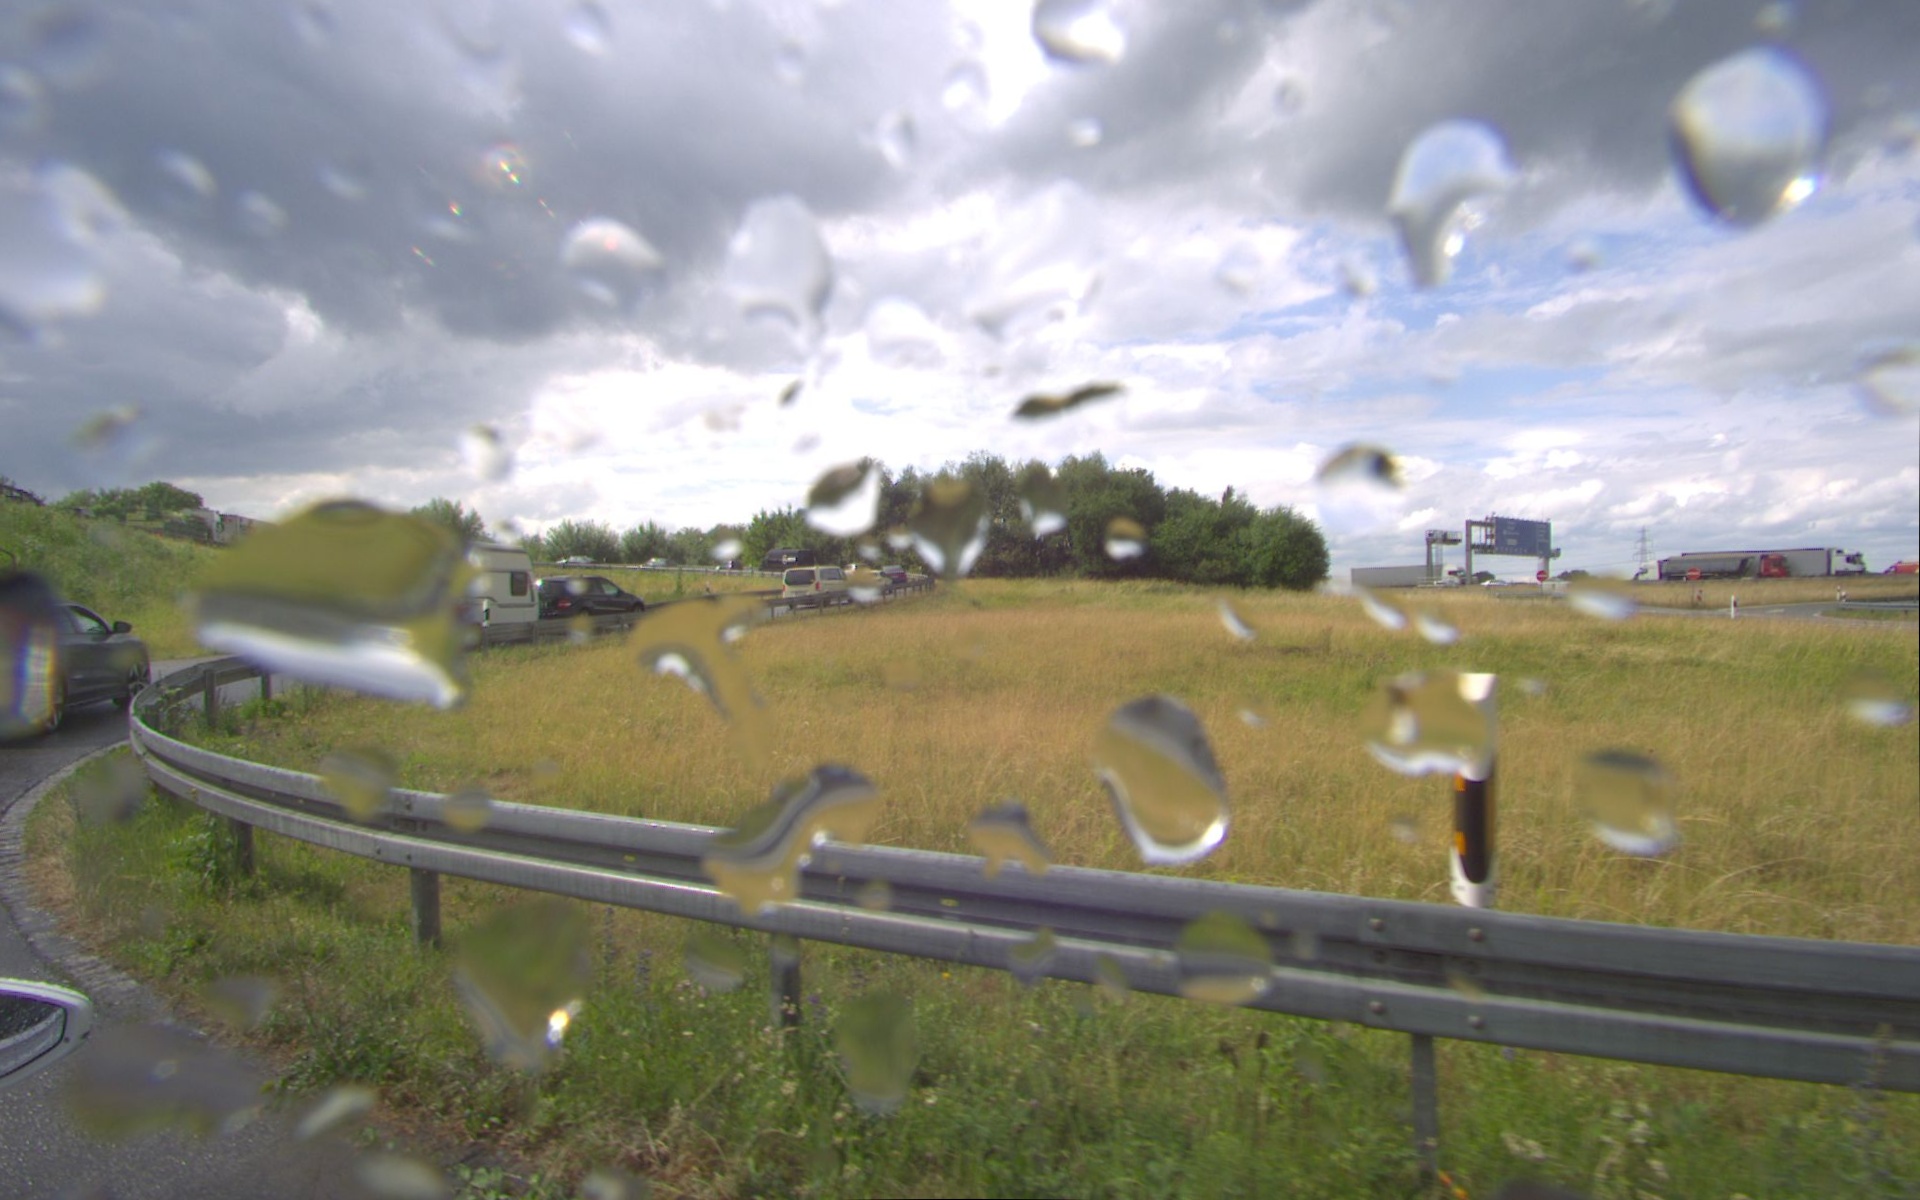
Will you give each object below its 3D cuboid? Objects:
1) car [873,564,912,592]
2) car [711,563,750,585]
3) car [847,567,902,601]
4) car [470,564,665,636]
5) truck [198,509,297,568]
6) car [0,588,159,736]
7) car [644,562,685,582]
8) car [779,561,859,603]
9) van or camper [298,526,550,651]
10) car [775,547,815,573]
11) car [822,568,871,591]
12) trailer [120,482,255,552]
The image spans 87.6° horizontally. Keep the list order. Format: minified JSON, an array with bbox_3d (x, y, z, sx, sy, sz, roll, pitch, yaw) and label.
[{"bbox_3d":[-4.773,-1.527,70.163,1.963,1.886,5.051,-1,1,-12],"label":"car"},{"bbox_3d":[-23.190,-2.610,101.204,3.955,2.041,1.983,0,1,42],"label":"car"},{"bbox_3d":[-5.071,-0.931,59.945,1.962,1.886,5.053,0,1,11],"label":"car"},{"bbox_3d":[-11.848,-0.039,30.810,2.393,1.952,5.747,2,1,20],"label":"car"},{"bbox_3d":[-75.515,-6.291,106.843,4.402,4.560,19.318,1,-2,-23],"label":"truck"},{"bbox_3d":[-11.335,0.635,12.000,1.696,1.545,3.986,1,0,-23],"label":"car"},{"bbox_3d":[-31.337,-2.959,106.090,3.939,2.041,1.990,2,2,30],"label":"car"},{"bbox_3d":[-6.585,-0.835,47.406,1.963,1.886,5.050,0,1,15],"label":"car"},{"bbox_3d":[-13.291,-0.333,25.471,2.392,2.767,5.994,2,2,12],"label":"van or camper"},{"bbox_3d":[-15.213,-3.657,92.343,1.977,2.039,3.968,1,-2,-39],"label":"car"},{"bbox_3d":[-9.491,-1.702,83.389,1.646,1.808,5.015,-1,1,-39],"label":"car"},{"bbox_3d":[-67.995,-7.038,88.996,4.356,4.006,20.158,1,-2,-23],"label":"trailer"}]
